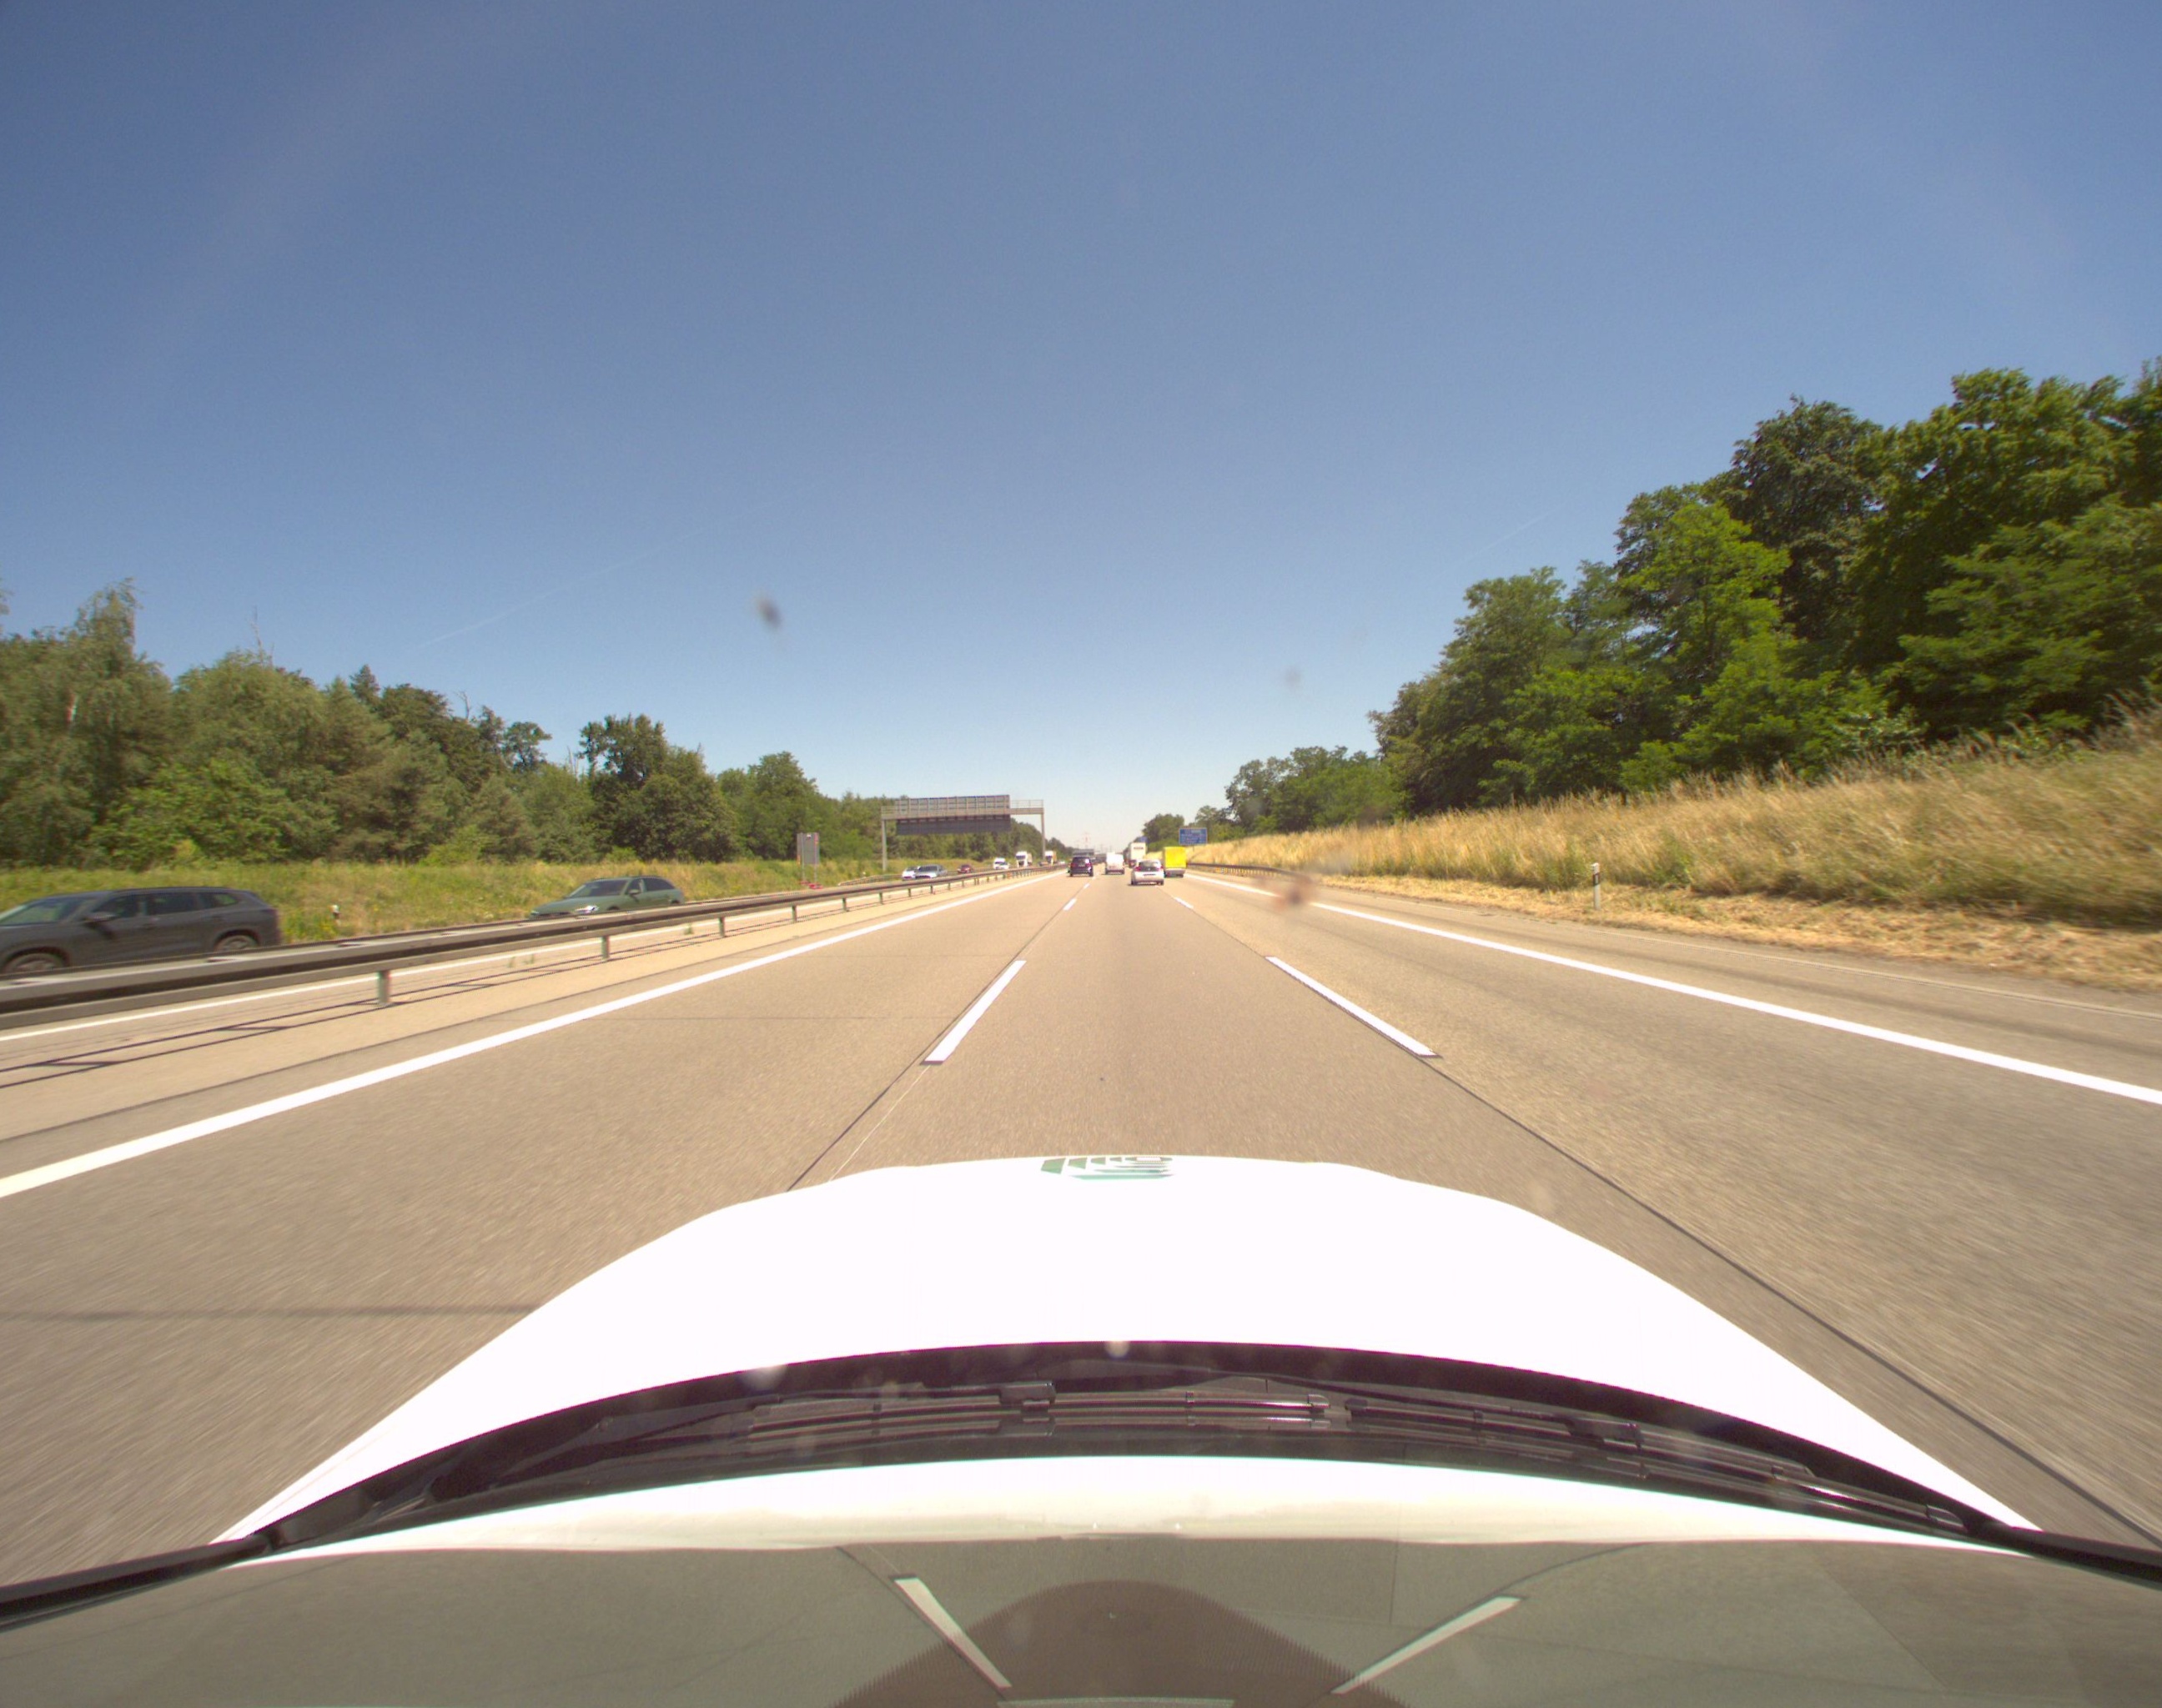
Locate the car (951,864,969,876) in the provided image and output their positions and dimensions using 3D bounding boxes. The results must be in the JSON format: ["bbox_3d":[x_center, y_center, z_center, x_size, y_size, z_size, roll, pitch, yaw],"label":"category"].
[{"bbox_3d":[-17.346,2.292,117.247,1.640,1.591,4.613,-4,0,2],"label":"car"}]

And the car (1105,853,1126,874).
[{"bbox_3d":[3.202,0.880,76.254,1.807,1.827,5.112,-2,-1,2],"label":"car"}]

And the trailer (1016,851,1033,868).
[{"bbox_3d":[-13.956,1.364,201.502,2.615,3.948,11.162,-4,0,2],"label":"trailer"}]

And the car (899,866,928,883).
[{"bbox_3d":[-17.365,2.095,84.487,1.788,1.516,4.905,-4,0,1],"label":"car"}]

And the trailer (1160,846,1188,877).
[{"bbox_3d":[6.944,0.560,60.842,1.697,2.290,3.840,-1,-1,1],"label":"trailer"}]

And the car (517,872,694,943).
[{"bbox_3d":[-12.022,1.279,21.011,1.692,1.429,4.575,-4,0,1],"label":"car"}]

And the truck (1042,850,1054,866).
[{"bbox_3d":[-8.957,1.002,220.098,2.454,4.072,6.290,-4,0,2],"label":"truck"}]

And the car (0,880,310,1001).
[{"bbox_3d":[-16.483,1.393,13.867,1.788,1.618,4.987,-4,0,1],"label":"car"}]

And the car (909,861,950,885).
[{"bbox_3d":[-10.747,1.328,58.106,1.788,1.474,4.988,-4,0,1],"label":"car"}]

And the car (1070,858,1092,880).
[{"bbox_3d":[0.040,1.253,67.641,1.620,1.755,3.806,-1,0,2],"label":"car"}]

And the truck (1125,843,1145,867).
[{"bbox_3d":[9.686,0.268,146.413,3.274,4.219,6.009,0,-1,2],"label":"truck"}]

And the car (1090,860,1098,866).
[{"bbox_3d":[2.752,1.911,173.363,1.601,1.300,3.676,-1,0,2],"label":"car"}]

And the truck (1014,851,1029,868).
[{"bbox_3d":[-14.205,1.352,195.276,2.615,3.948,6.485,-4,0,2],"label":"truck"}]

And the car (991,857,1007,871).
[{"bbox_3d":[-15.223,1.857,151.287,1.980,2.340,5.811,-4,0,1],"label":"car"}]

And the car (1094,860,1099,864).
[{"bbox_3d":[4.290,2.109,222.579,1.400,1.131,3.360,-1,0,2],"label":"car"}]

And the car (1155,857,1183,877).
[{"bbox_3d":[6.982,1.020,65.183,1.815,1.456,4.789,-1,-1,1],"label":"car"}]

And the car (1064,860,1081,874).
[{"bbox_3d":[-0.900,1.364,87.045,1.663,1.401,3.713,-2,0,1],"label":"car"}]

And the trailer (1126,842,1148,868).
[{"bbox_3d":[9.490,0.217,139.451,3.273,4.219,13.569,0,-1,2],"label":"trailer"}]

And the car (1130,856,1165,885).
[{"bbox_3d":[3.646,0.892,45.062,1.702,1.495,4.026,-1,0,2],"label":"car"}]

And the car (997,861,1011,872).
[{"bbox_3d":[-11.939,1.951,126.469,1.641,1.499,4.562,-4,0,1],"label":"car"}]

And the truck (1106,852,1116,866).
[{"bbox_3d":[6.392,1.099,174.399,2.052,2.914,7.005,-2,-1,2],"label":"truck"}]

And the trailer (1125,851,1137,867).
[{"bbox_3d":[12.041,1.198,197.217,2.673,3.837,12.014,0,-1,2],"label":"trailer"}]
